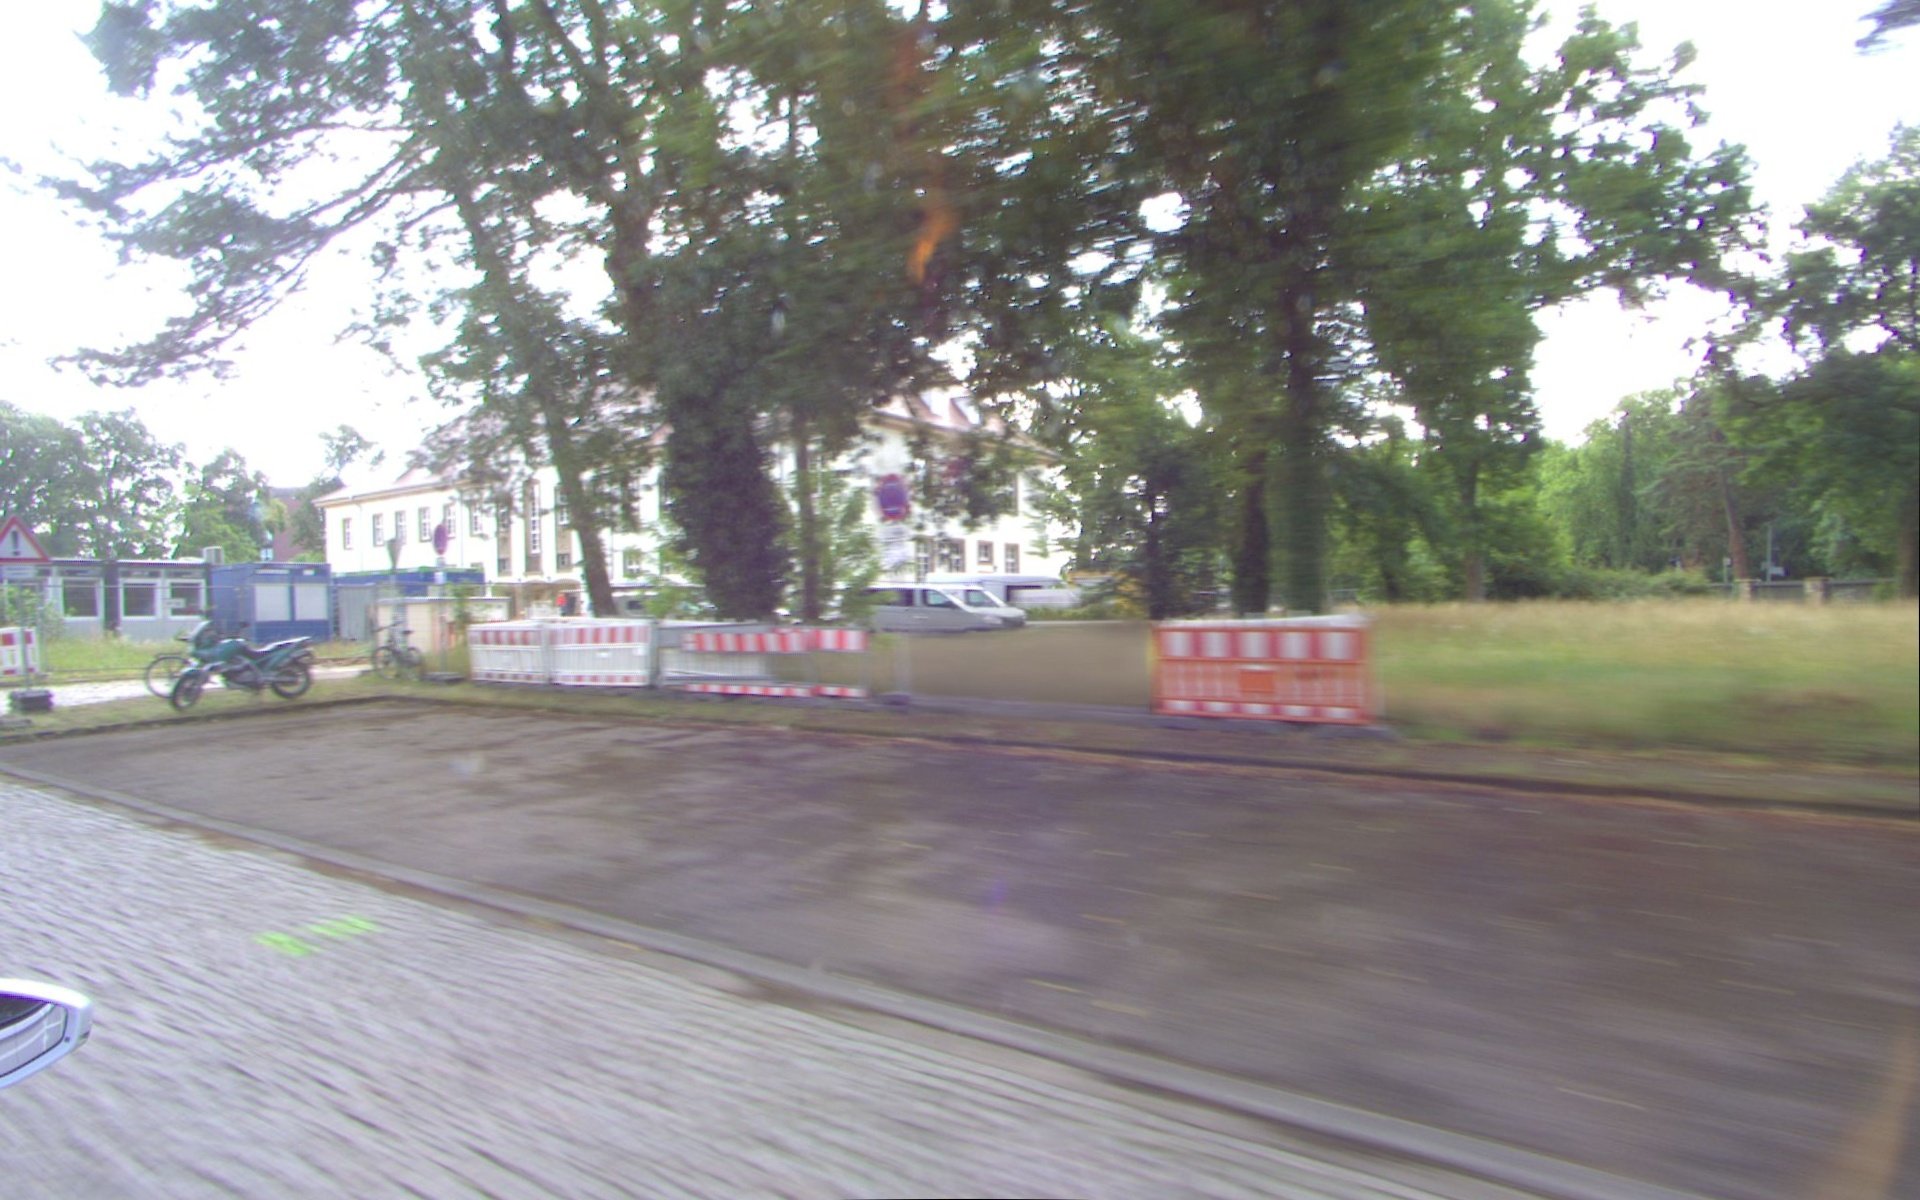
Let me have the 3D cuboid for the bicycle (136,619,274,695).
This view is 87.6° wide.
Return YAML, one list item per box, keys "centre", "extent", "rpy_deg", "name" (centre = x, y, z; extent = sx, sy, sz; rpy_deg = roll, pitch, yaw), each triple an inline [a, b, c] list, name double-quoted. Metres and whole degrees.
- centre: [-13.235, 0.977, 17.603]
  extent: [1.881, 1.213, 0.651]
  rpy_deg: [-1, 1, -38]
  name: "bicycle"

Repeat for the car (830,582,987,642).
- centre: [-1.592, 0.407, 32.081]
  extent: [4.780, 1.848, 2.000]
  rpy_deg: [-1, -1, 7]
  name: "car"

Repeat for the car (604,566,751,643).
- centre: [-10.368, 0.239, 36.543]
  extent: [5.832, 2.589, 1.988]
  rpy_deg: [-1, -1, 36]
  name: "car"

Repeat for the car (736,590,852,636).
- centre: [-7.010, 0.590, 42.089]
  extent: [4.810, 1.848, 1.988]
  rpy_deg: [-1, -2, 35]
  name: "car"

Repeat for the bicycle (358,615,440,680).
- centre: [-10.874, 0.894, 19.383]
  extent: [1.879, 1.185, 0.640]
  rpy_deg: [-1, 1, 36]
  name: "bicycle"

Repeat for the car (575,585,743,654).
- centre: [-9.060, 0.530, 30.573]
  extent: [1.880, 1.946, 4.845]
  rpy_deg: [1, 1, 34]
  name: "car"

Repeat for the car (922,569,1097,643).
- centre: [1.818, 0.263, 37.161]
  extent: [6.297, 2.611, 2.000]
  rpy_deg: [0, -1, 4]
  name: "car"

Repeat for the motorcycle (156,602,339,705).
- centre: [-11.391, 0.806, 16.114]
  extent: [0.745, 1.505, 2.274]
  rpy_deg: [-1, 1, 28]
  name: "motorcycle"

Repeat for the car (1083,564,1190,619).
- centre: [7.642, -0.265, 42.681]
  extent: [2.182, 2.122, 6.127]
  rpy_deg: [-1, -2, 34]
  name: "car"

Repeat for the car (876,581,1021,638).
- centre: [-0.342, 0.349, 34.505]
  extent: [4.780, 1.848, 2.000]
  rpy_deg: [-1, -1, 7]
  name: "car"
